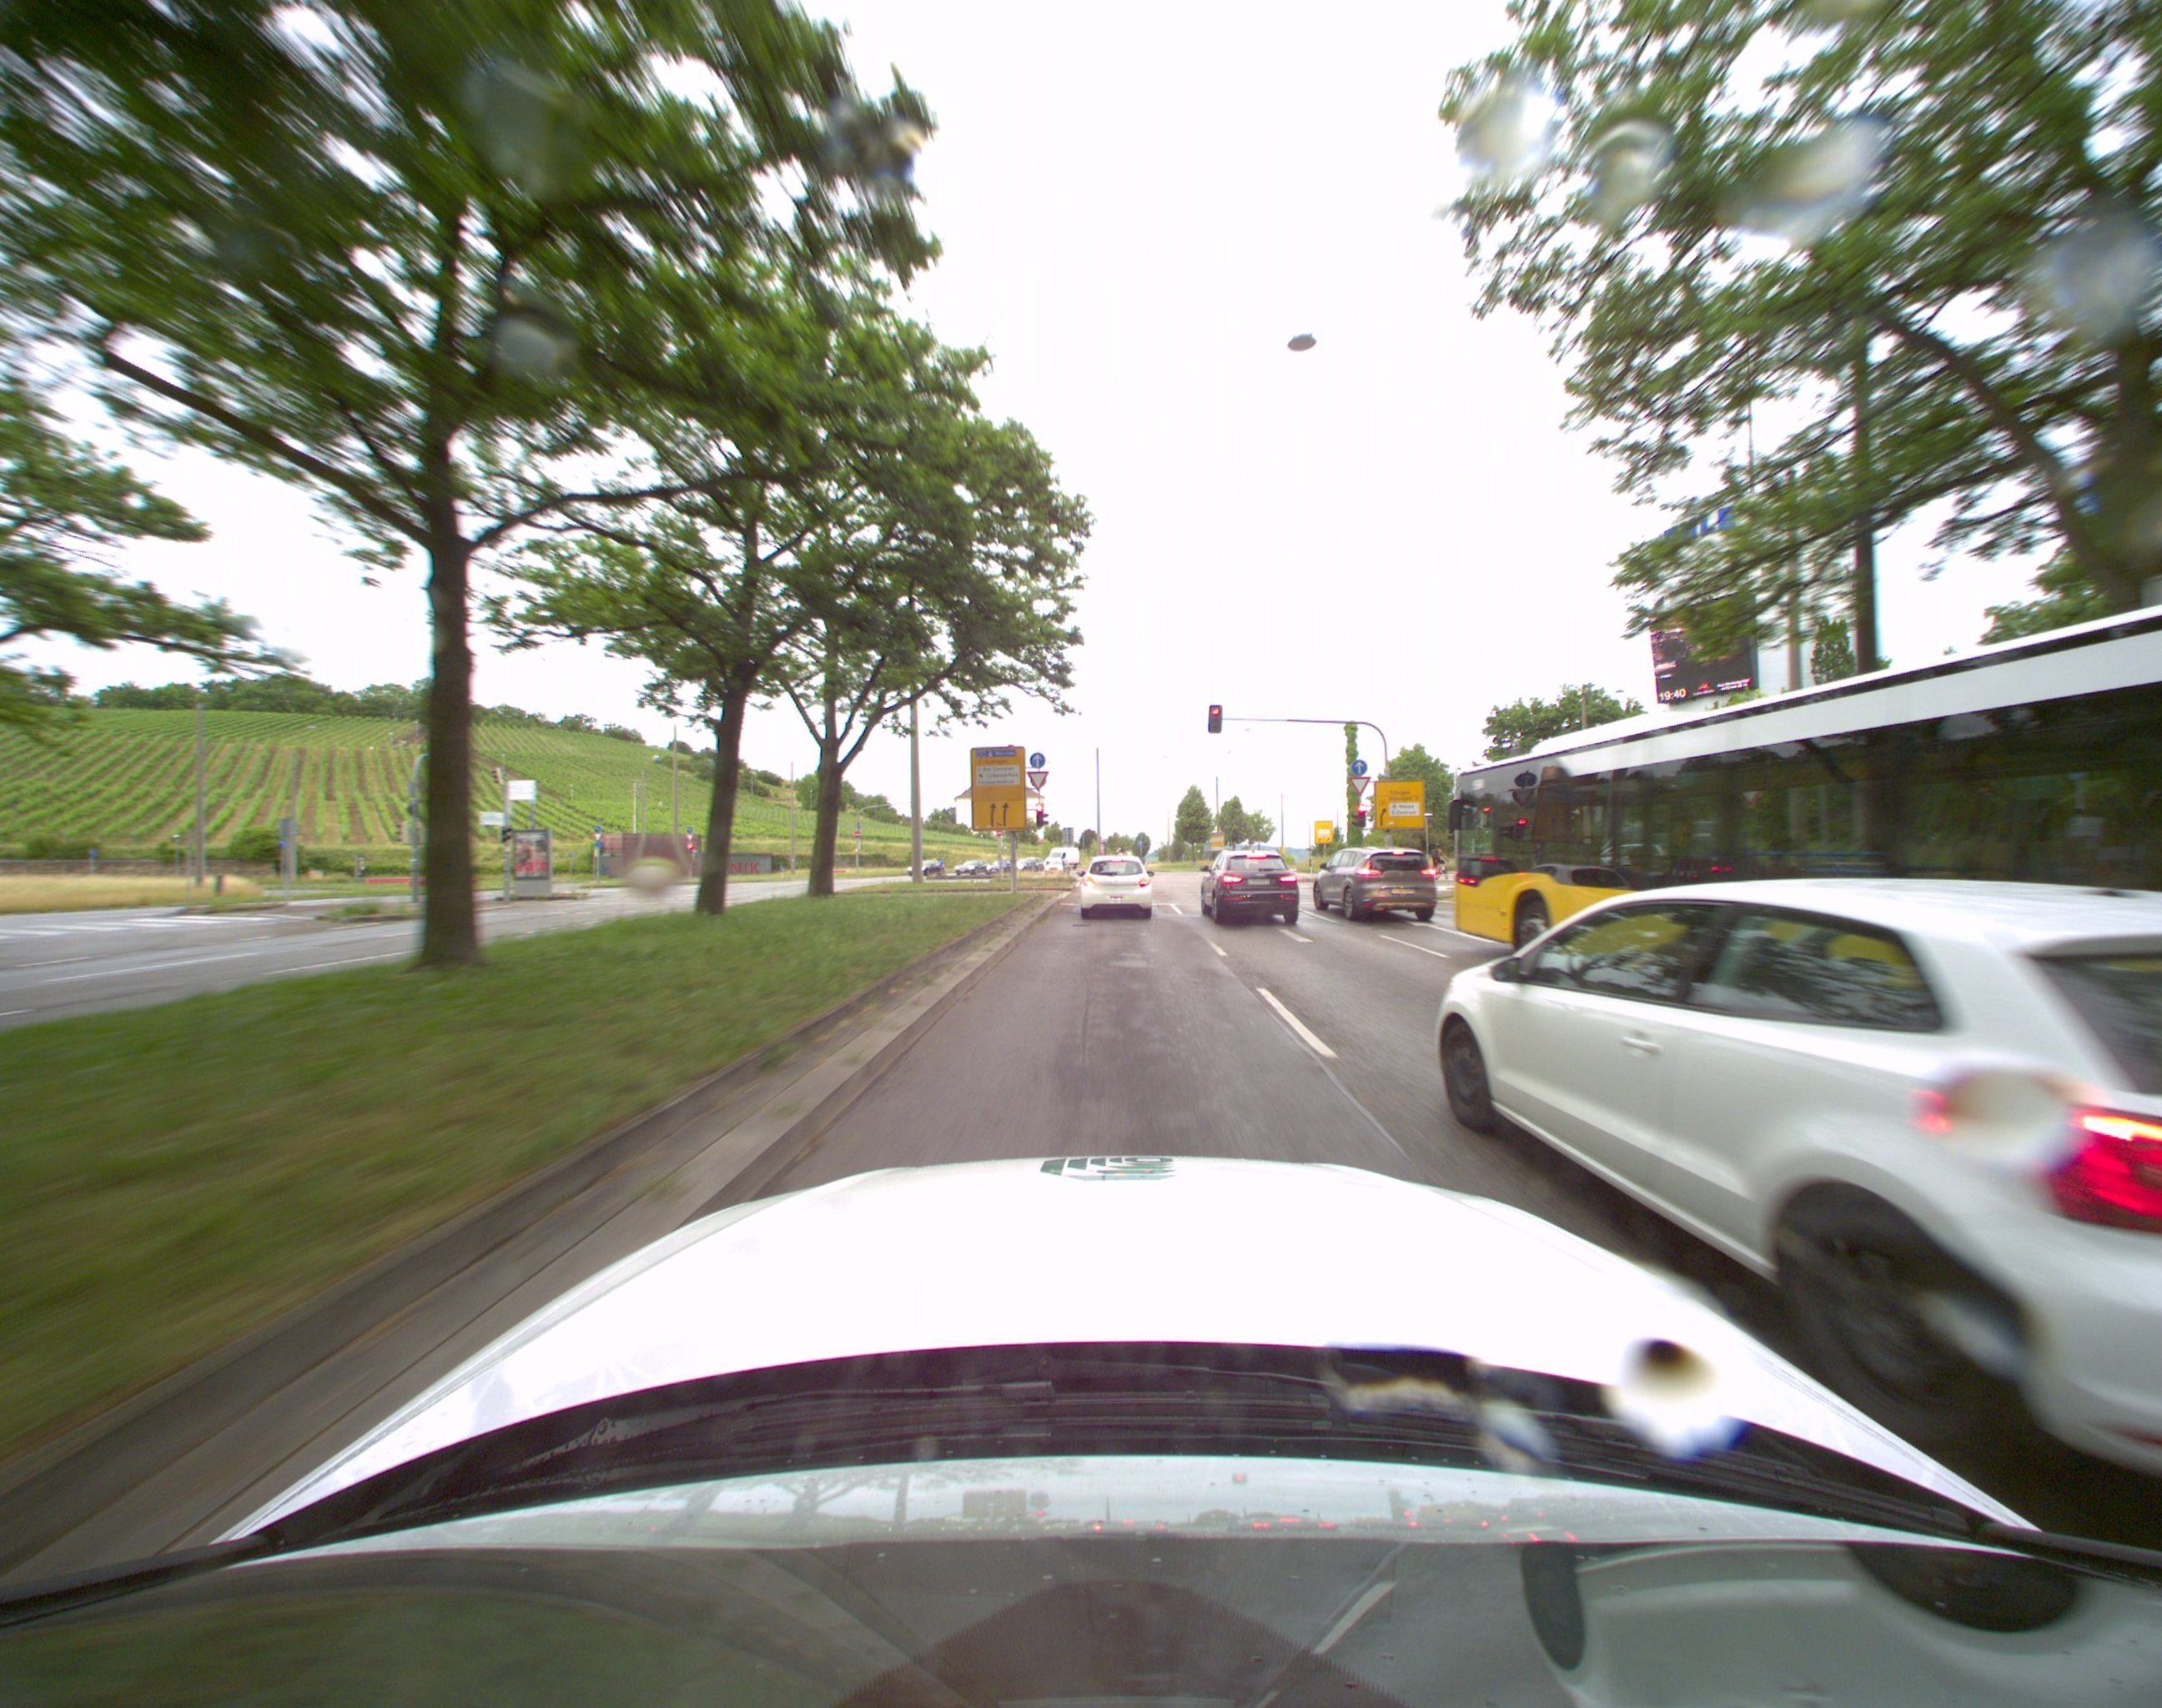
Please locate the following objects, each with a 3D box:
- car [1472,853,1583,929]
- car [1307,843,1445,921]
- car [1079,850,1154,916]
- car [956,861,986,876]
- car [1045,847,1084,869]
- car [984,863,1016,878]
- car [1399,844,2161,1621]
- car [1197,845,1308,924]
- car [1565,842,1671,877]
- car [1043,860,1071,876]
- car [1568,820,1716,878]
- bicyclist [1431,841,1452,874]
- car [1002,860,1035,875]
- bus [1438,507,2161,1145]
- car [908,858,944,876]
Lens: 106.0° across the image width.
[{"bbox_3d":[10.122,0.788,18.309,1.847,1.498,4.177,-3,-2,32],"label":"car"},{"bbox_3d":[6.997,0.578,19.845,1.858,1.674,4.567,0,0,2],"label":"car"},{"bbox_3d":[0.910,0.685,20.592,1.711,1.489,4.002,0,-1,3],"label":"car"},{"bbox_3d":[-10.386,1.372,77.156,1.776,1.395,3.891,0,-1,9],"label":"car"},{"bbox_3d":[-1.966,0.494,98.701,1.975,2.559,6.206,1,-1,27],"label":"car"},{"bbox_3d":[-7.436,1.522,74.996,1.774,1.395,3.895,0,-2,13],"label":"car"},{"bbox_3d":[2.909,0.734,3.412,1.734,1.432,3.812,1,-1,1],"label":"car"},{"bbox_3d":[3.835,0.649,18.888,1.876,1.595,4.116,1,-1,3],"label":"car"},{"bbox_3d":[25.547,0.287,38.893,4.011,1.569,1.882,0,-2,26],"label":"car"},{"bbox_3d":[-2.191,1.315,75.656,1.765,1.425,4.384,-1,-1,8],"label":"car"},{"bbox_3d":[28.049,-0.192,41.057,5.953,2.741,2.094,0,-2,29],"label":"car"},{"bbox_3d":[17.379,0.169,39.257,0.801,1.584,1.029,0,-1,30],"label":"bicyclist"},{"bbox_3d":[-6.165,1.341,80.857,1.888,1.489,4.908,1,-1,12],"label":"car"},{"bbox_3d":[6.876,-0.143,7.200,2.715,3.152,12.156,1,0,3],"label":"bus"},{"bbox_3d":[-14.368,1.184,75.692,1.818,1.624,4.577,1,-1,9],"label":"car"}]
